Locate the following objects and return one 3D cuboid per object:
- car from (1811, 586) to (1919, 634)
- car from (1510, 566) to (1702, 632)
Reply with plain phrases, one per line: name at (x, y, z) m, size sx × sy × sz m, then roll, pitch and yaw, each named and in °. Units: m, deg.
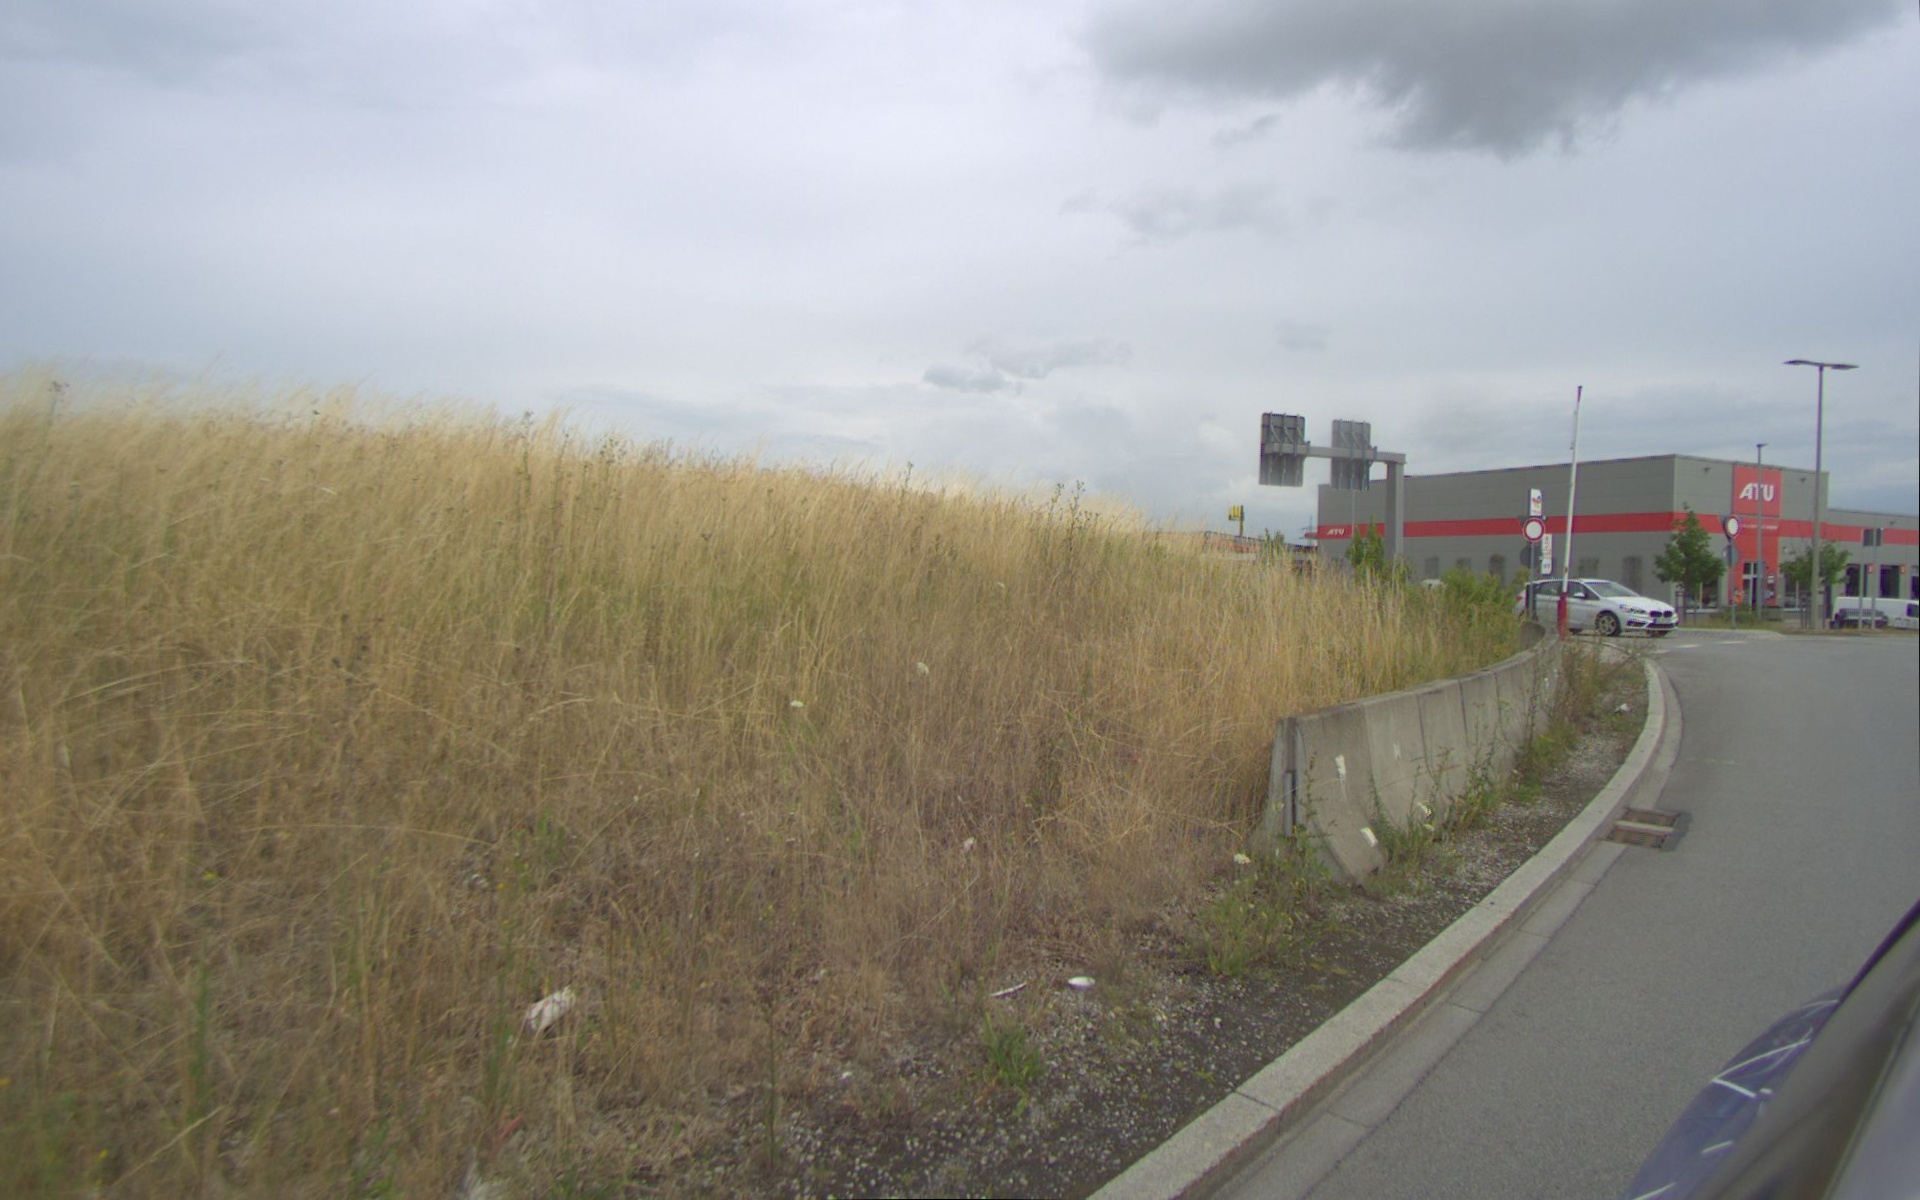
car at (42.651, 0.435, 46.451) m, size 1.960 × 2.073 × 5.084 m, roll 0°, pitch 1°, yaw -30°
car at (17.642, -0.059, 27.911) m, size 1.747 × 1.649 × 4.437 m, roll 0°, pitch 1°, yaw -15°
